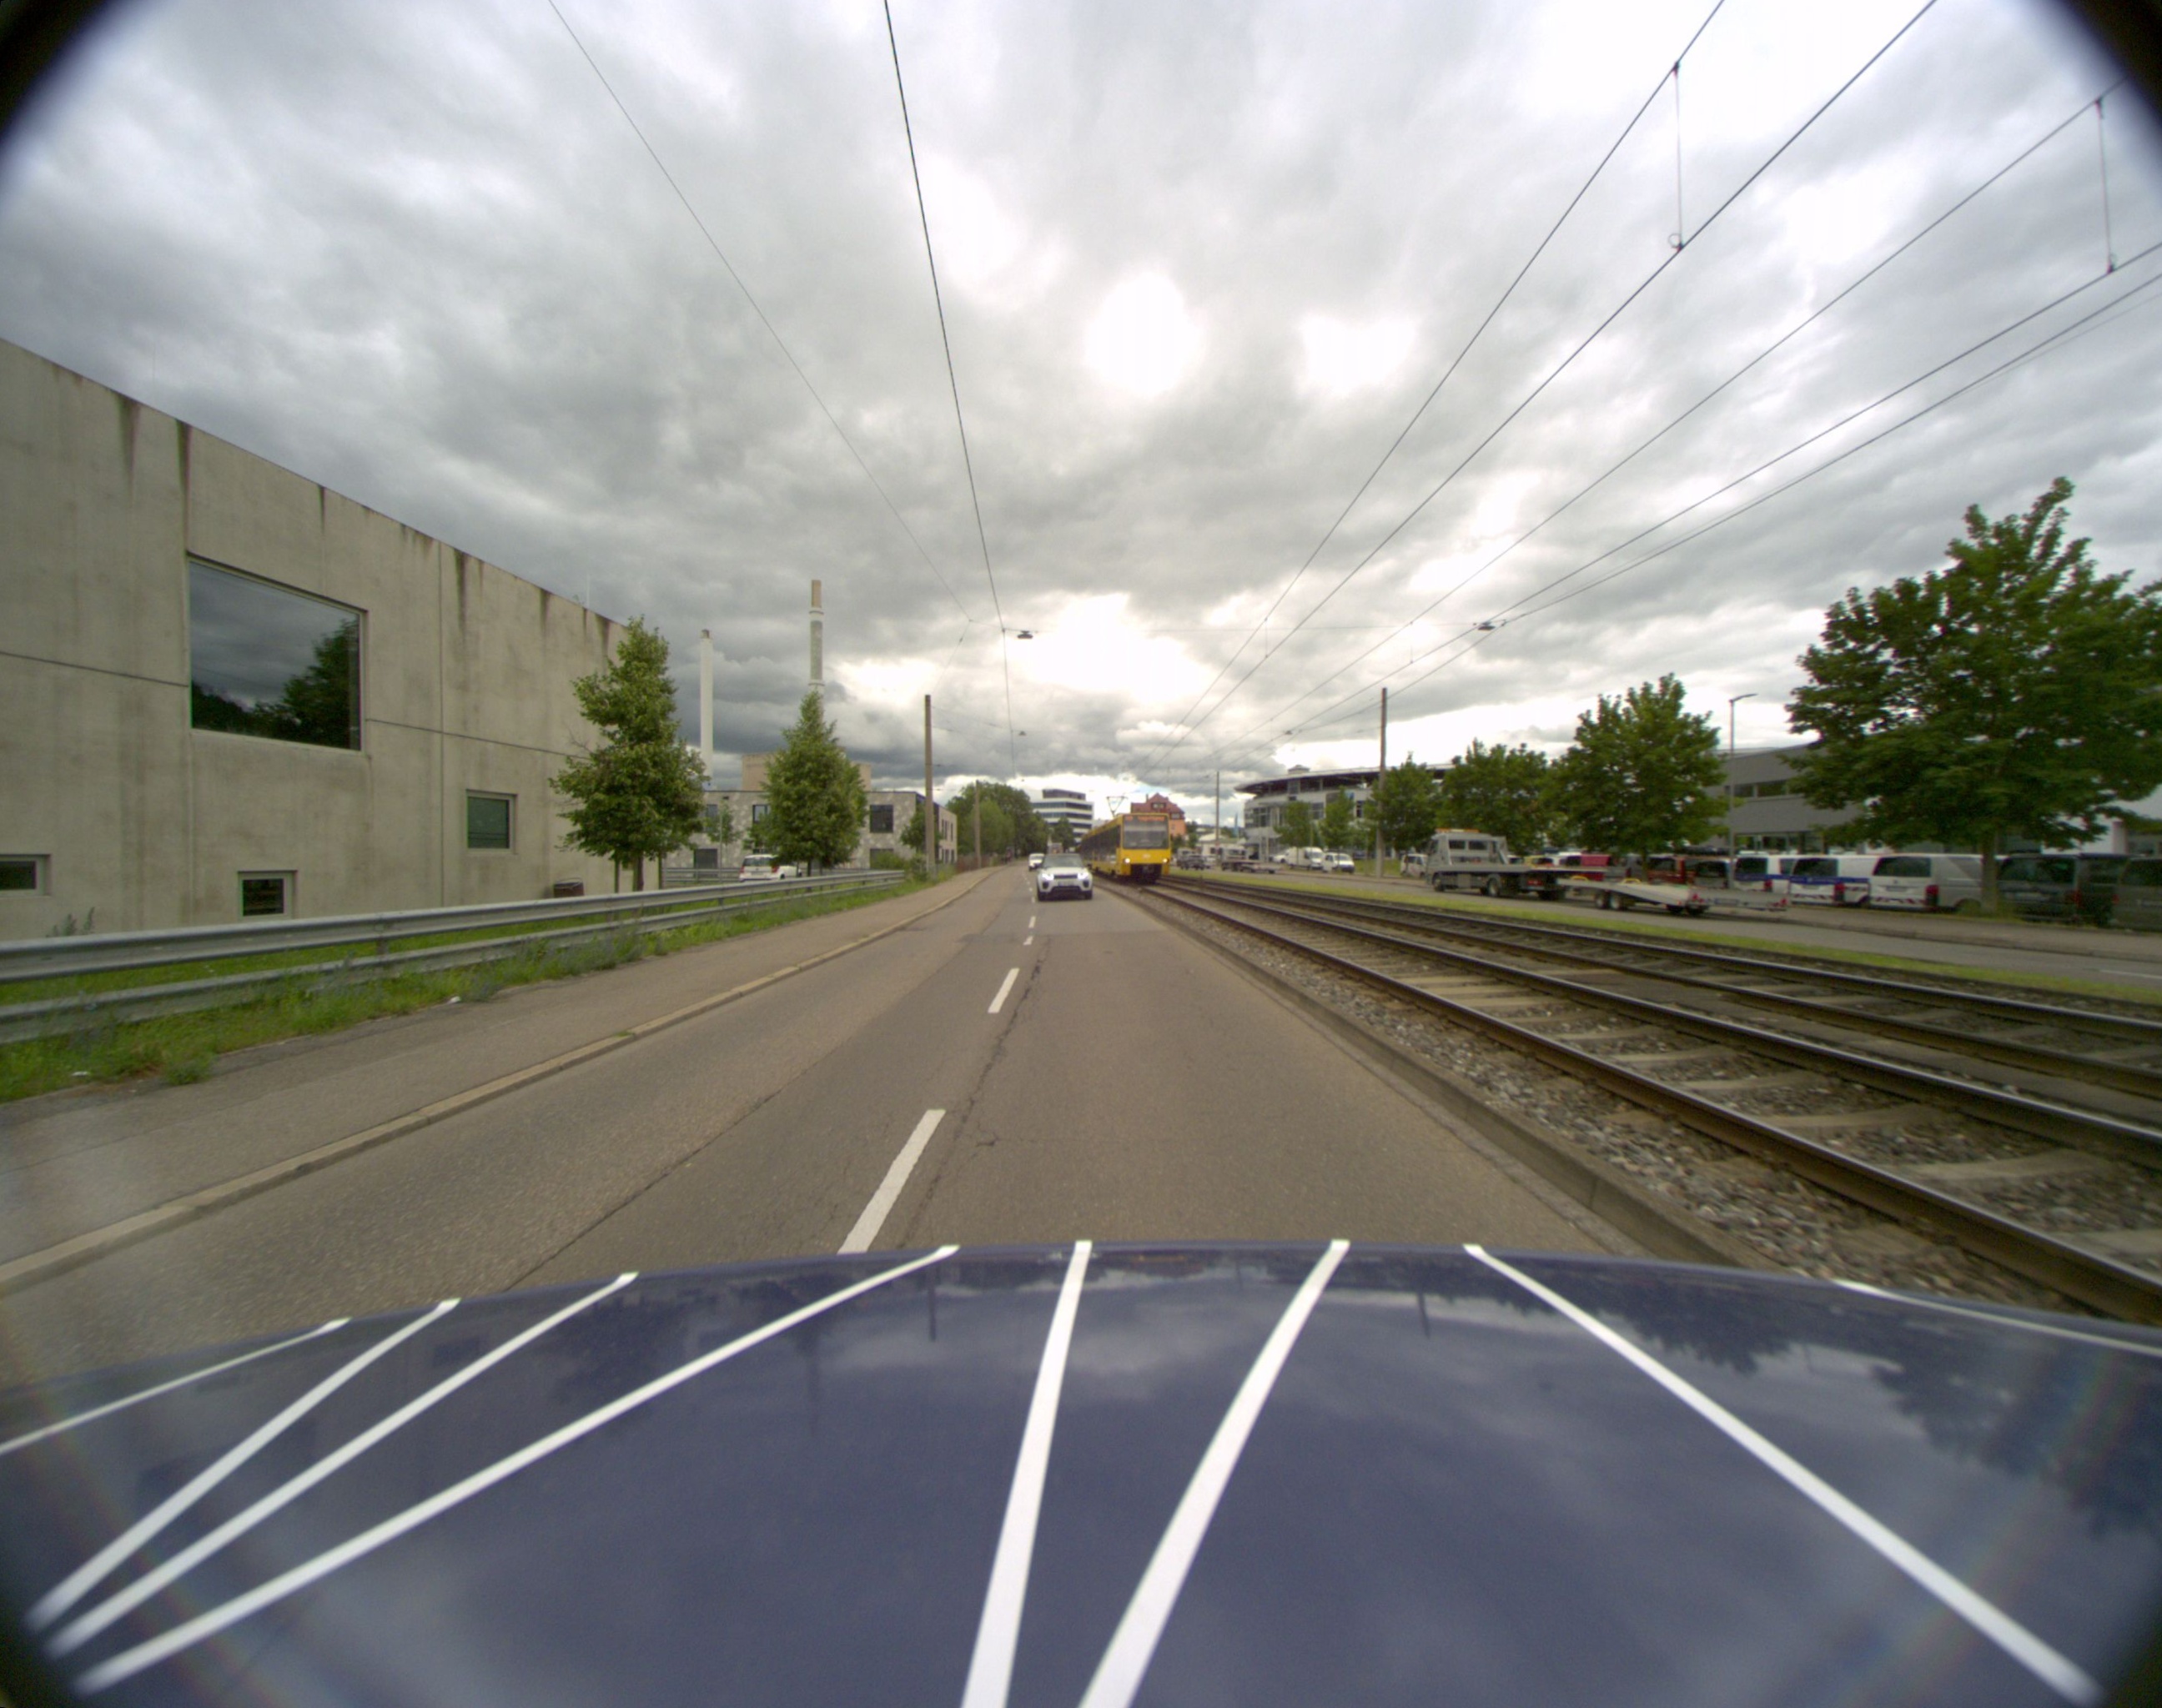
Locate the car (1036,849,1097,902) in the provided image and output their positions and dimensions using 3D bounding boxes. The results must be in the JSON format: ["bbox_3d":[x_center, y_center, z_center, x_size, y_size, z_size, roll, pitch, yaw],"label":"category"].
[{"bbox_3d":[-0.578,0.735,27.576,1.999,1.718,3.999,-2,0,-3],"label":"car"}]

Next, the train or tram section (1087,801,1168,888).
[{"bbox_3d":[2.212,-0.540,43.836,3.397,3.984,16.940,-2,1,-1],"label":"train or tram section"}]

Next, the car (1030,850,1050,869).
[{"bbox_3d":[-4.402,0.576,81.546,1.999,1.881,4.624,0,0,-5],"label":"car"}]
